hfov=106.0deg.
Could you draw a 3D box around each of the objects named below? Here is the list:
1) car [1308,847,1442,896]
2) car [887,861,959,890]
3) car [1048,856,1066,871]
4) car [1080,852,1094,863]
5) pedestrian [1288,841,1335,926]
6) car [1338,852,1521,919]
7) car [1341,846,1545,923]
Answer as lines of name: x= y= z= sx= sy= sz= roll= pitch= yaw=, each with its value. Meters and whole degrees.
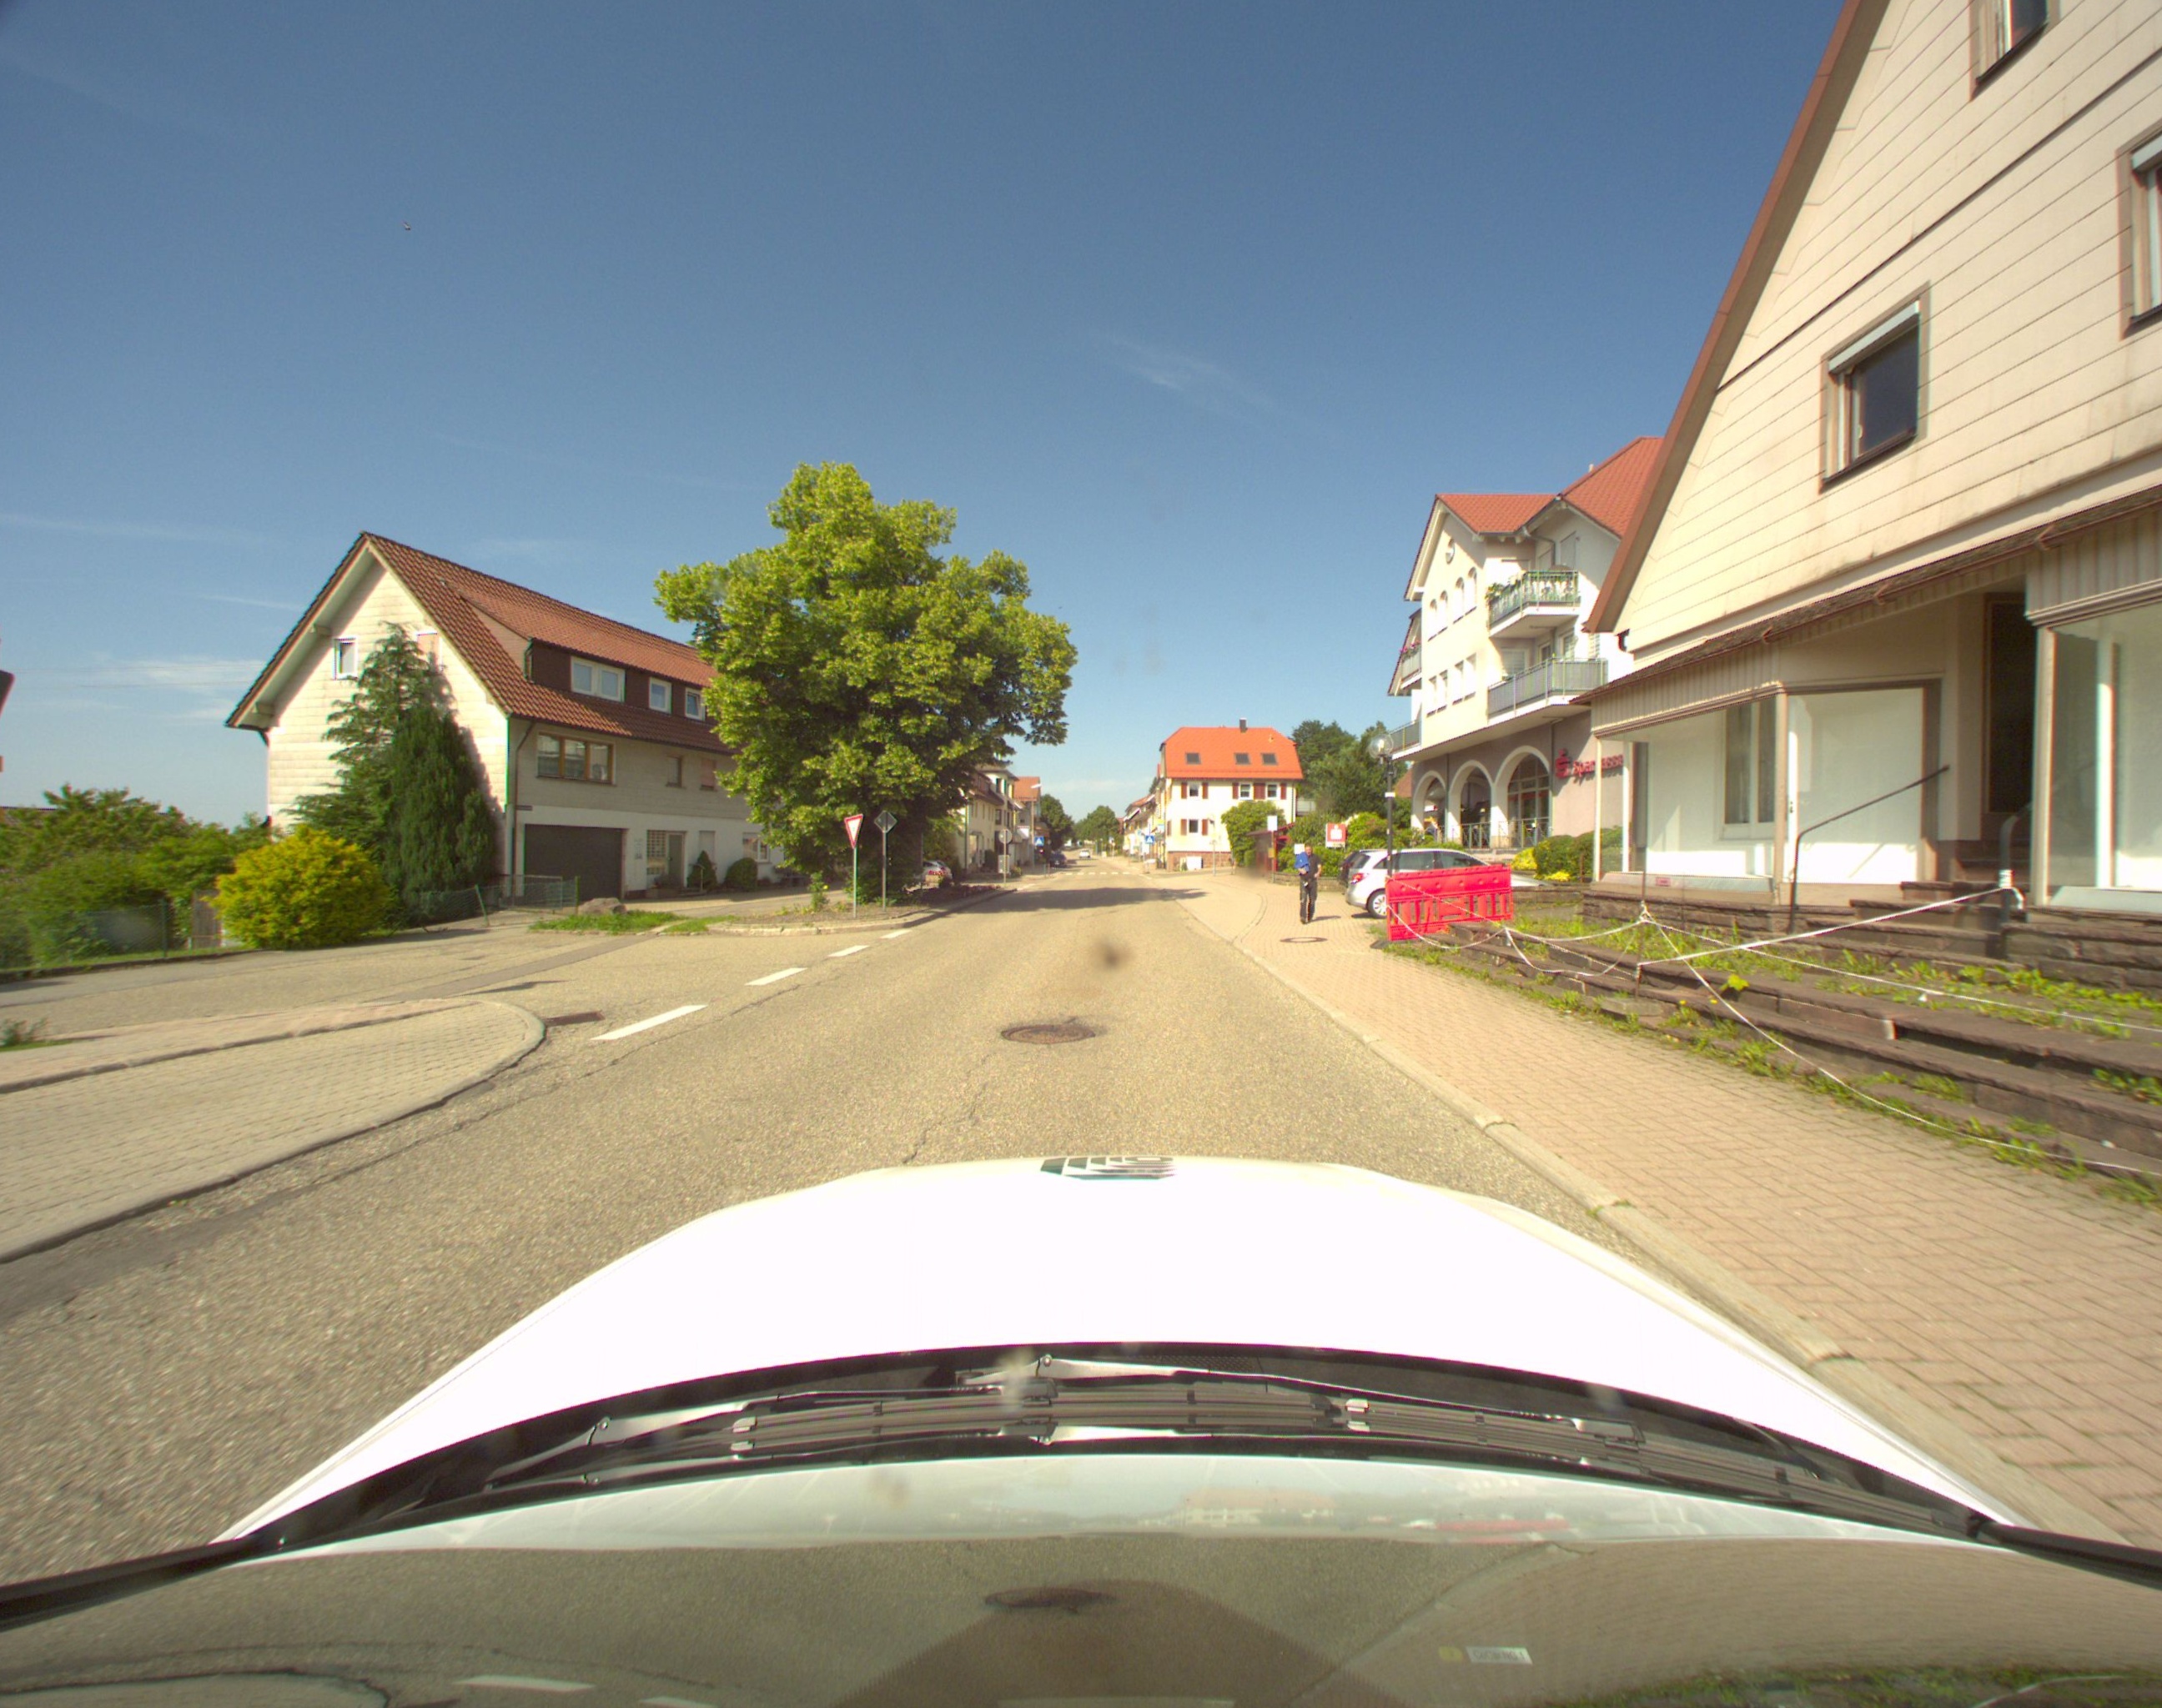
car: x=10.063 y=0.589 z=28.145 sx=3.968 sy=1.548 sz=1.883 roll=-2 pitch=0 yaw=4
car: x=-9.344 y=1.283 z=48.115 sx=3.732 sy=1.455 sz=1.824 roll=-3 pitch=-6 yaw=14
car: x=-2.737 y=1.063 z=93.603 sx=1.666 sy=1.533 sz=3.537 roll=3 pitch=0 yaw=2
car: x=1.239 y=0.690 z=160.942 sx=2.489 sy=2.013 sz=4.301 roll=-3 pitch=0 yaw=-2
pedestrian: x=5.028 y=0.623 z=17.806 sx=0.795 sy=1.784 sz=0.981 roll=-2 pitch=0 yaw=7
car: x=8.570 y=0.736 z=20.363 sx=3.960 sy=1.549 sz=1.744 roll=1 pitch=0 yaw=12
car: x=7.803 y=0.642 z=17.943 sx=3.833 sy=1.558 sz=1.971 roll=-1 pitch=0 yaw=15
